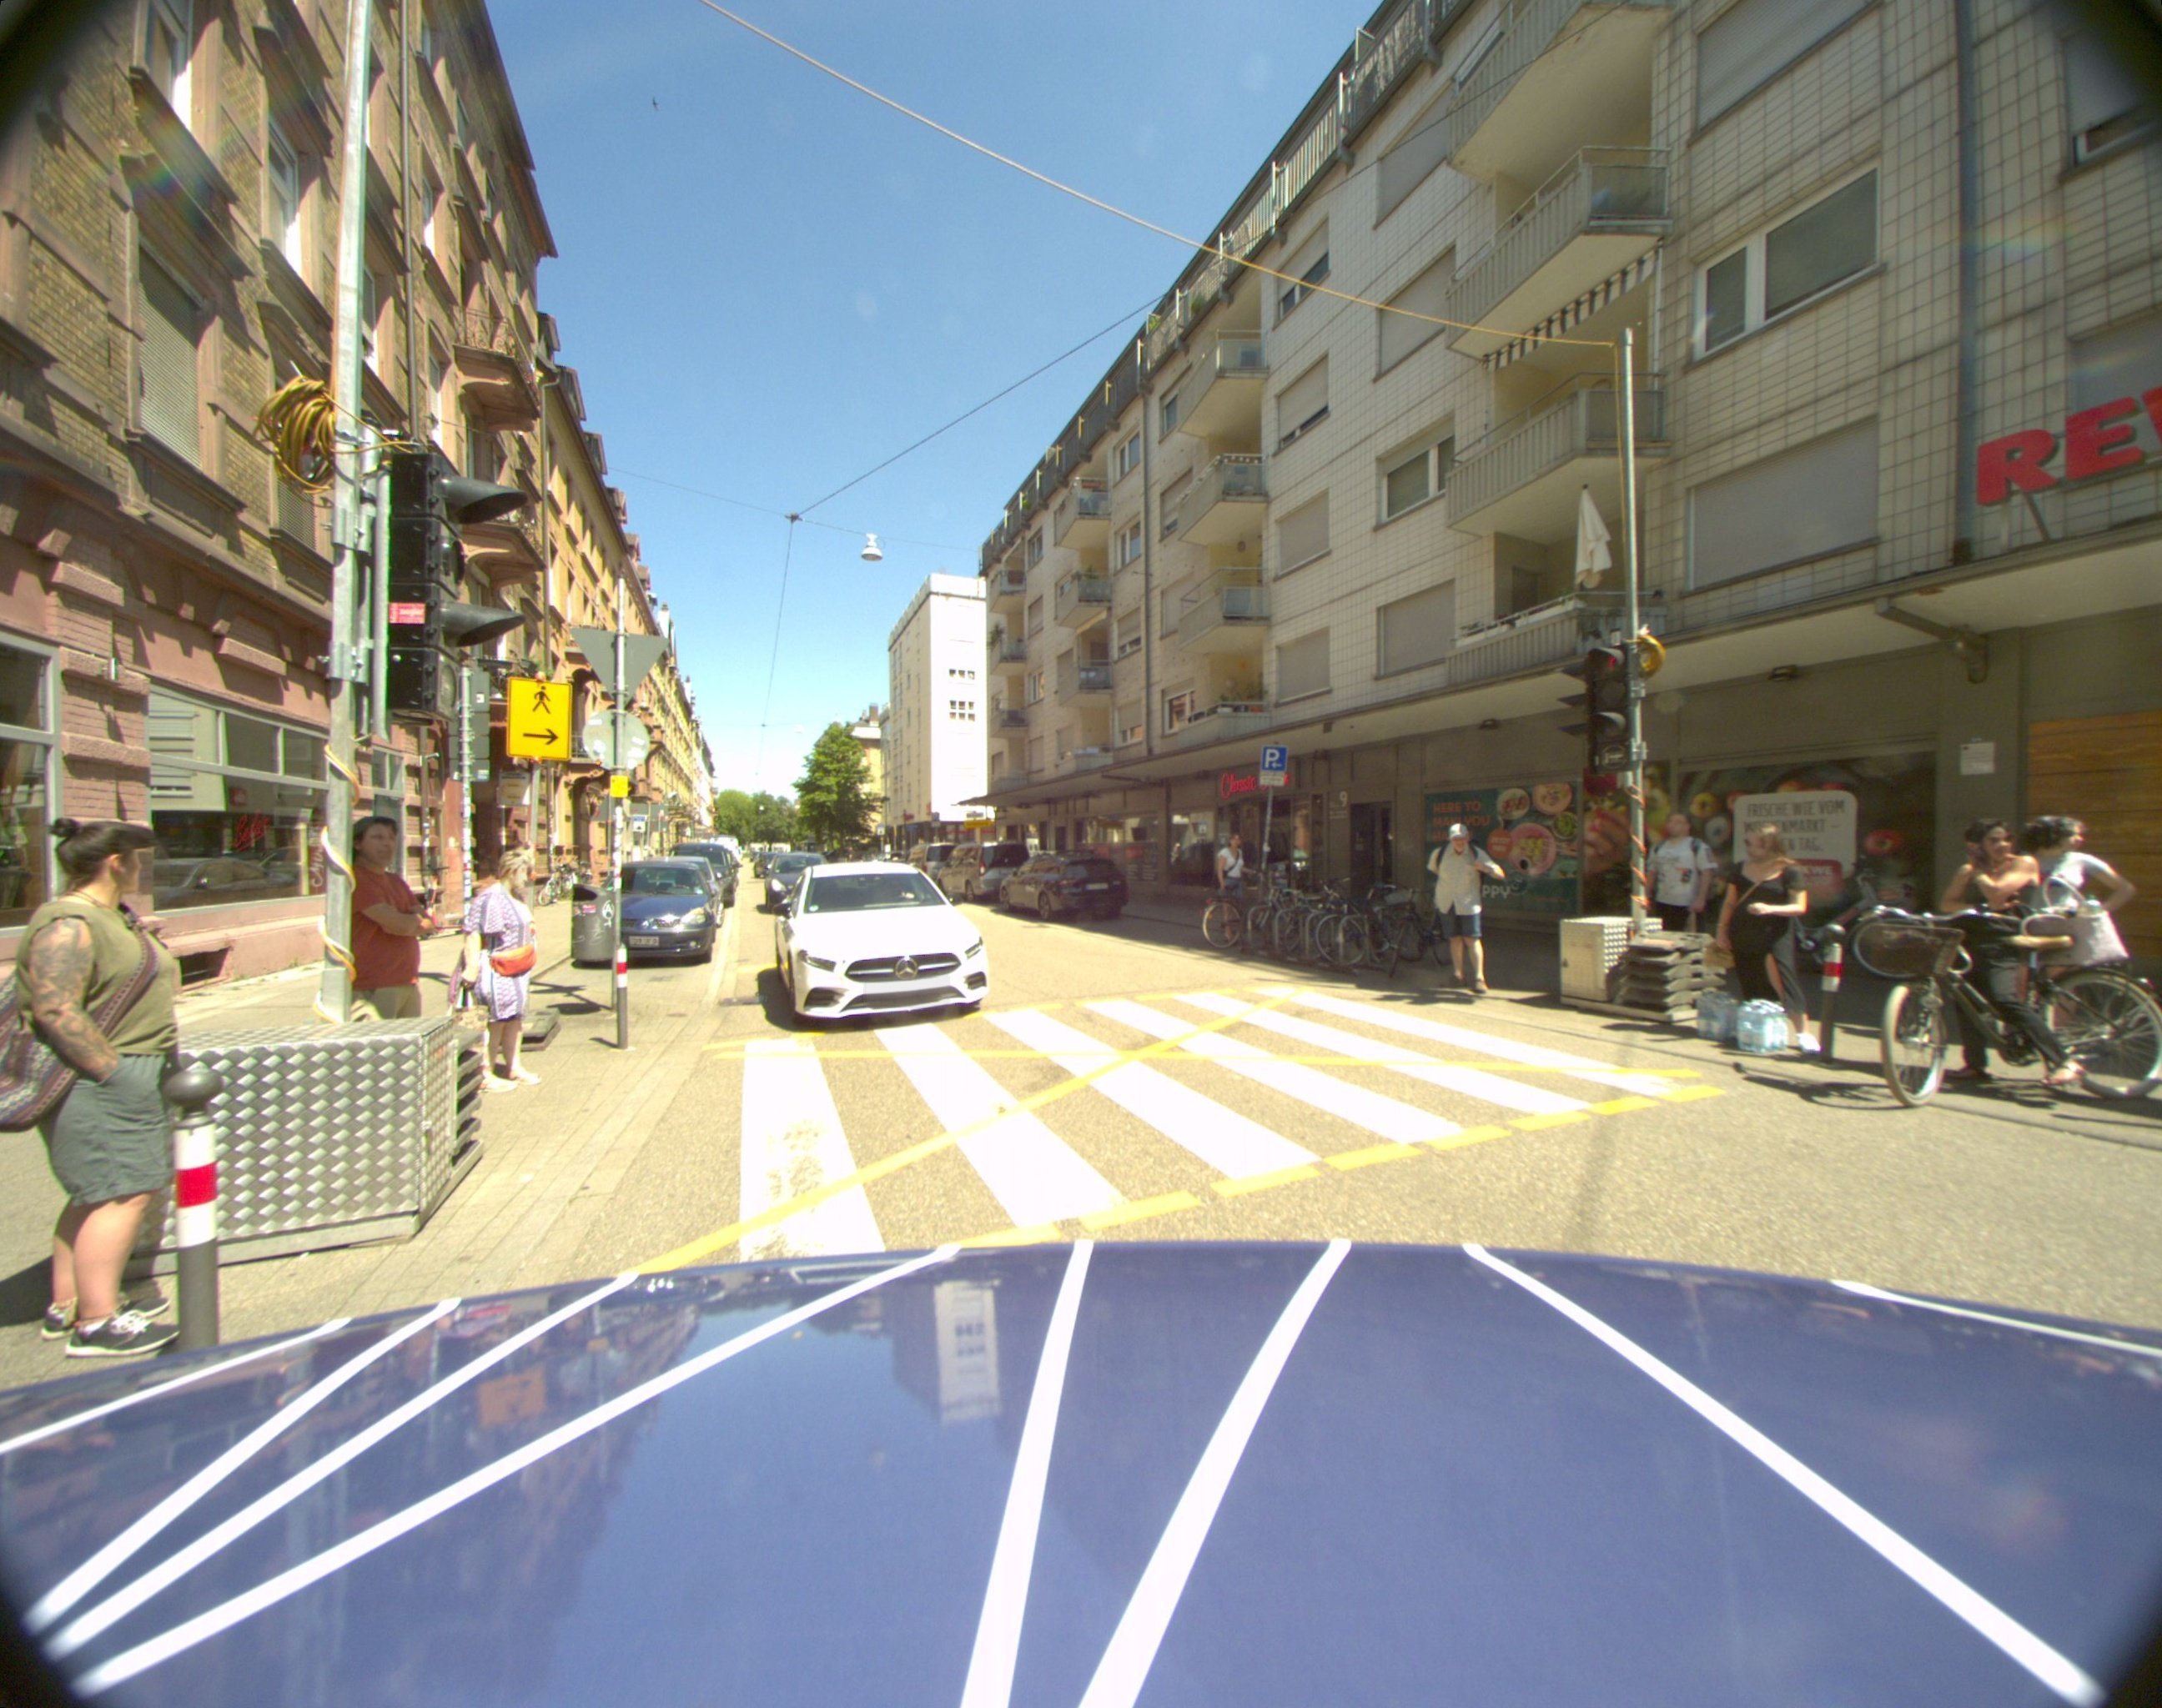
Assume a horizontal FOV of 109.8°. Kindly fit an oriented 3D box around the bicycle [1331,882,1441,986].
[{"bbox_3d":[3.847,0.973,9.543,1.526,1.111,0.335,-4,3,-27],"label":"bicycle"}]

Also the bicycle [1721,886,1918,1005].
[{"bbox_3d":[7.555,0.896,7.832,0.322,1.080,1.428,-3,1,-42],"label":"bicycle"}]

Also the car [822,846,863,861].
[{"bbox_3d":[-24.837,-0.087,79.007,3.893,1.487,1.648,-1,1,-24],"label":"car"}]

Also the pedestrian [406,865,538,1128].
[{"bbox_3d":[-3.770,0.848,4.732,0.495,1.534,0.436,1,1,-17],"label":"pedestrian"}]

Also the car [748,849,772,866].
[{"bbox_3d":[-26.987,0.254,63.776,1.751,1.382,3.991,-1,1,-24],"label":"car"}]

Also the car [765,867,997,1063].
[{"bbox_3d":[-2.420,0.913,8.281,1.817,1.417,4.233,-1,1,-23],"label":"car"}]

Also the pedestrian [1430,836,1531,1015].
[{"bbox_3d":[4.052,0.683,7.726,0.659,1.717,0.631,-1,2,-26],"label":"pedestrian"}]

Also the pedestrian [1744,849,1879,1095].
[{"bbox_3d":[5.152,0.781,5.370,0.543,1.624,0.510,-1,2,-26],"label":"pedestrian"}]

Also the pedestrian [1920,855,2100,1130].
[{"bbox_3d":[5.567,0.797,4.573,0.497,1.557,0.459,-3,2,3],"label":"pedestrian"}]

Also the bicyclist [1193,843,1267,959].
[{"bbox_3d":[2.303,0.690,11.816,0.626,1.697,0.976,-4,3,-26],"label":"bicyclist"}]

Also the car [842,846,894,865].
[{"bbox_3d":[-17.478,0.108,62.421,3.893,1.520,1.648,-1,1,-24],"label":"car"}]

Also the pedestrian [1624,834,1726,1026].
[{"bbox_3d":[5.729,0.694,7.340,0.511,1.760,0.598,-1,2,-26],"label":"pedestrian"}]

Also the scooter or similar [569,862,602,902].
[{"bbox_3d":[-15.268,0.836,23.449,0.478,1.146,2.145,-2,1,-23],"label":"scooter or similar"}]

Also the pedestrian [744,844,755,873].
[{"bbox_3d":[-21.862,0.303,50.135,0.636,1.903,0.369,-1,1,-23],"label":"pedestrian"}]

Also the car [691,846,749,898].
[{"bbox_3d":[-13.153,0.579,27.858,1.709,1.724,3.991,-2,2,-23],"label":"car"}]

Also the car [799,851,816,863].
[{"bbox_3d":[-39.086,0.414,108.688,2.002,1.505,3.991,-3,2,-23],"label":"car"}]

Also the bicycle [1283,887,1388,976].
[{"bbox_3d":[3.476,1.021,10.341,1.500,1.025,0.397,-4,3,-27],"label":"bicycle"}]

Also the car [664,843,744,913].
[{"bbox_3d":[-10.590,0.587,21.513,1.833,1.757,4.328,0,1,-25],"label":"car"}]

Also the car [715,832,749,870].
[{"bbox_3d":[-26.356,-0.232,57.511,2.071,2.687,5.028,-3,2,-23],"label":"car"}]

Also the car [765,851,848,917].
[{"bbox_3d":[-7.371,0.695,20.185,1.783,1.461,3.991,-3,2,-23],"label":"car"}]

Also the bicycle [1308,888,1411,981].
[{"bbox_3d":[3.648,1.024,9.919,1.454,1.030,0.335,-4,3,-27],"label":"bicycle"}]

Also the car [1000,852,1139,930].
[{"bbox_3d":[-0.422,0.740,17.749,1.677,1.516,4.454,-2,1,-23],"label":"car"}]

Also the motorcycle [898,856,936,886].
[{"bbox_3d":[-7.157,0.736,33.149,1.554,1.277,0.393,-1,3,9],"label":"motorcycle"}]

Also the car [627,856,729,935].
[{"bbox_3d":[-8.669,0.788,16.653,1.733,1.424,4.475,0,1,-25],"label":"car"}]

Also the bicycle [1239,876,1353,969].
[{"bbox_3d":[3.068,0.938,10.794,1.590,1.133,0.525,-4,3,-27],"label":"bicycle"}]

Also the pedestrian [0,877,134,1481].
[{"bbox_3d":[-3.072,0.850,2.021,0.461,1.551,0.478,-1,2,-17],"label":"pedestrian"}]

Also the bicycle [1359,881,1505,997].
[{"bbox_3d":[4.134,0.947,8.907,1.806,1.116,0.576,-3,3,-29],"label":"bicycle"}]

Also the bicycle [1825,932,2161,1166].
[{"bbox_3d":[5.302,1.061,4.279,1.809,1.113,0.467,-2,2,-2],"label":"bicycle"}]

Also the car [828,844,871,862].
[{"bbox_3d":[-22.588,-0.128,74.115,3.893,1.737,1.648,-1,1,-24],"label":"car"}]

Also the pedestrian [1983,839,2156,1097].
[{"bbox_3d":[6.697,0.716,5.165,0.511,1.624,0.598,-1,2,-26],"label":"pedestrian"}]

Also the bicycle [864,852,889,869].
[{"bbox_3d":[-14.021,0.443,52.055,1.611,1.084,0.370,-3,2,-18],"label":"bicycle"}]

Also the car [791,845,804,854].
[{"bbox_3d":[-55.133,-0.852,147.644,2.002,1.674,3.991,-3,2,-23],"label":"car"}]

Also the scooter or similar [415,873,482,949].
[{"bbox_3d":[-10.599,0.926,12.768,0.293,1.170,1.270,-1,1,-14],"label":"scooter or similar"}]

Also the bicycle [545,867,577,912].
[{"bbox_3d":[-13.779,0.925,20.168,0.355,1.097,1.752,-1,1,-23],"label":"bicycle"}]

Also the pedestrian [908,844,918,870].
[{"bbox_3d":[-13.651,0.228,61.578,0.608,2.113,0.495,0,1,12],"label":"pedestrian"}]

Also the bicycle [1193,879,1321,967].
[{"bbox_3d":[2.647,0.986,11.322,1.942,1.086,0.603,-3,3,-29],"label":"bicycle"}]

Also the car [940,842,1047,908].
[{"bbox_3d":[-2.845,0.560,23.703,1.797,1.801,4.688,-2,1,-26],"label":"car"}]

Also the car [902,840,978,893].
[{"bbox_3d":[-5.561,0.405,29.401,1.796,1.818,4.890,-2,1,-23],"label":"car"}]

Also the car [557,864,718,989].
[{"bbox_3d":[-6.336,0.907,11.223,1.634,1.424,3.652,0,1,-24],"label":"car"}]

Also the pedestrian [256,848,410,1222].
[{"bbox_3d":[-3.538,0.809,3.621,0.333,1.666,0.401,-1,2,-17],"label":"pedestrian"}]

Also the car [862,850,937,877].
[{"bbox_3d":[-10.441,0.521,43.756,3.897,1.417,1.811,-1,1,-26],"label":"car"}]

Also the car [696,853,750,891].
[{"bbox_3d":[-15.242,0.712,32.222,1.769,1.441,3.896,-2,2,-29],"label":"car"}]
